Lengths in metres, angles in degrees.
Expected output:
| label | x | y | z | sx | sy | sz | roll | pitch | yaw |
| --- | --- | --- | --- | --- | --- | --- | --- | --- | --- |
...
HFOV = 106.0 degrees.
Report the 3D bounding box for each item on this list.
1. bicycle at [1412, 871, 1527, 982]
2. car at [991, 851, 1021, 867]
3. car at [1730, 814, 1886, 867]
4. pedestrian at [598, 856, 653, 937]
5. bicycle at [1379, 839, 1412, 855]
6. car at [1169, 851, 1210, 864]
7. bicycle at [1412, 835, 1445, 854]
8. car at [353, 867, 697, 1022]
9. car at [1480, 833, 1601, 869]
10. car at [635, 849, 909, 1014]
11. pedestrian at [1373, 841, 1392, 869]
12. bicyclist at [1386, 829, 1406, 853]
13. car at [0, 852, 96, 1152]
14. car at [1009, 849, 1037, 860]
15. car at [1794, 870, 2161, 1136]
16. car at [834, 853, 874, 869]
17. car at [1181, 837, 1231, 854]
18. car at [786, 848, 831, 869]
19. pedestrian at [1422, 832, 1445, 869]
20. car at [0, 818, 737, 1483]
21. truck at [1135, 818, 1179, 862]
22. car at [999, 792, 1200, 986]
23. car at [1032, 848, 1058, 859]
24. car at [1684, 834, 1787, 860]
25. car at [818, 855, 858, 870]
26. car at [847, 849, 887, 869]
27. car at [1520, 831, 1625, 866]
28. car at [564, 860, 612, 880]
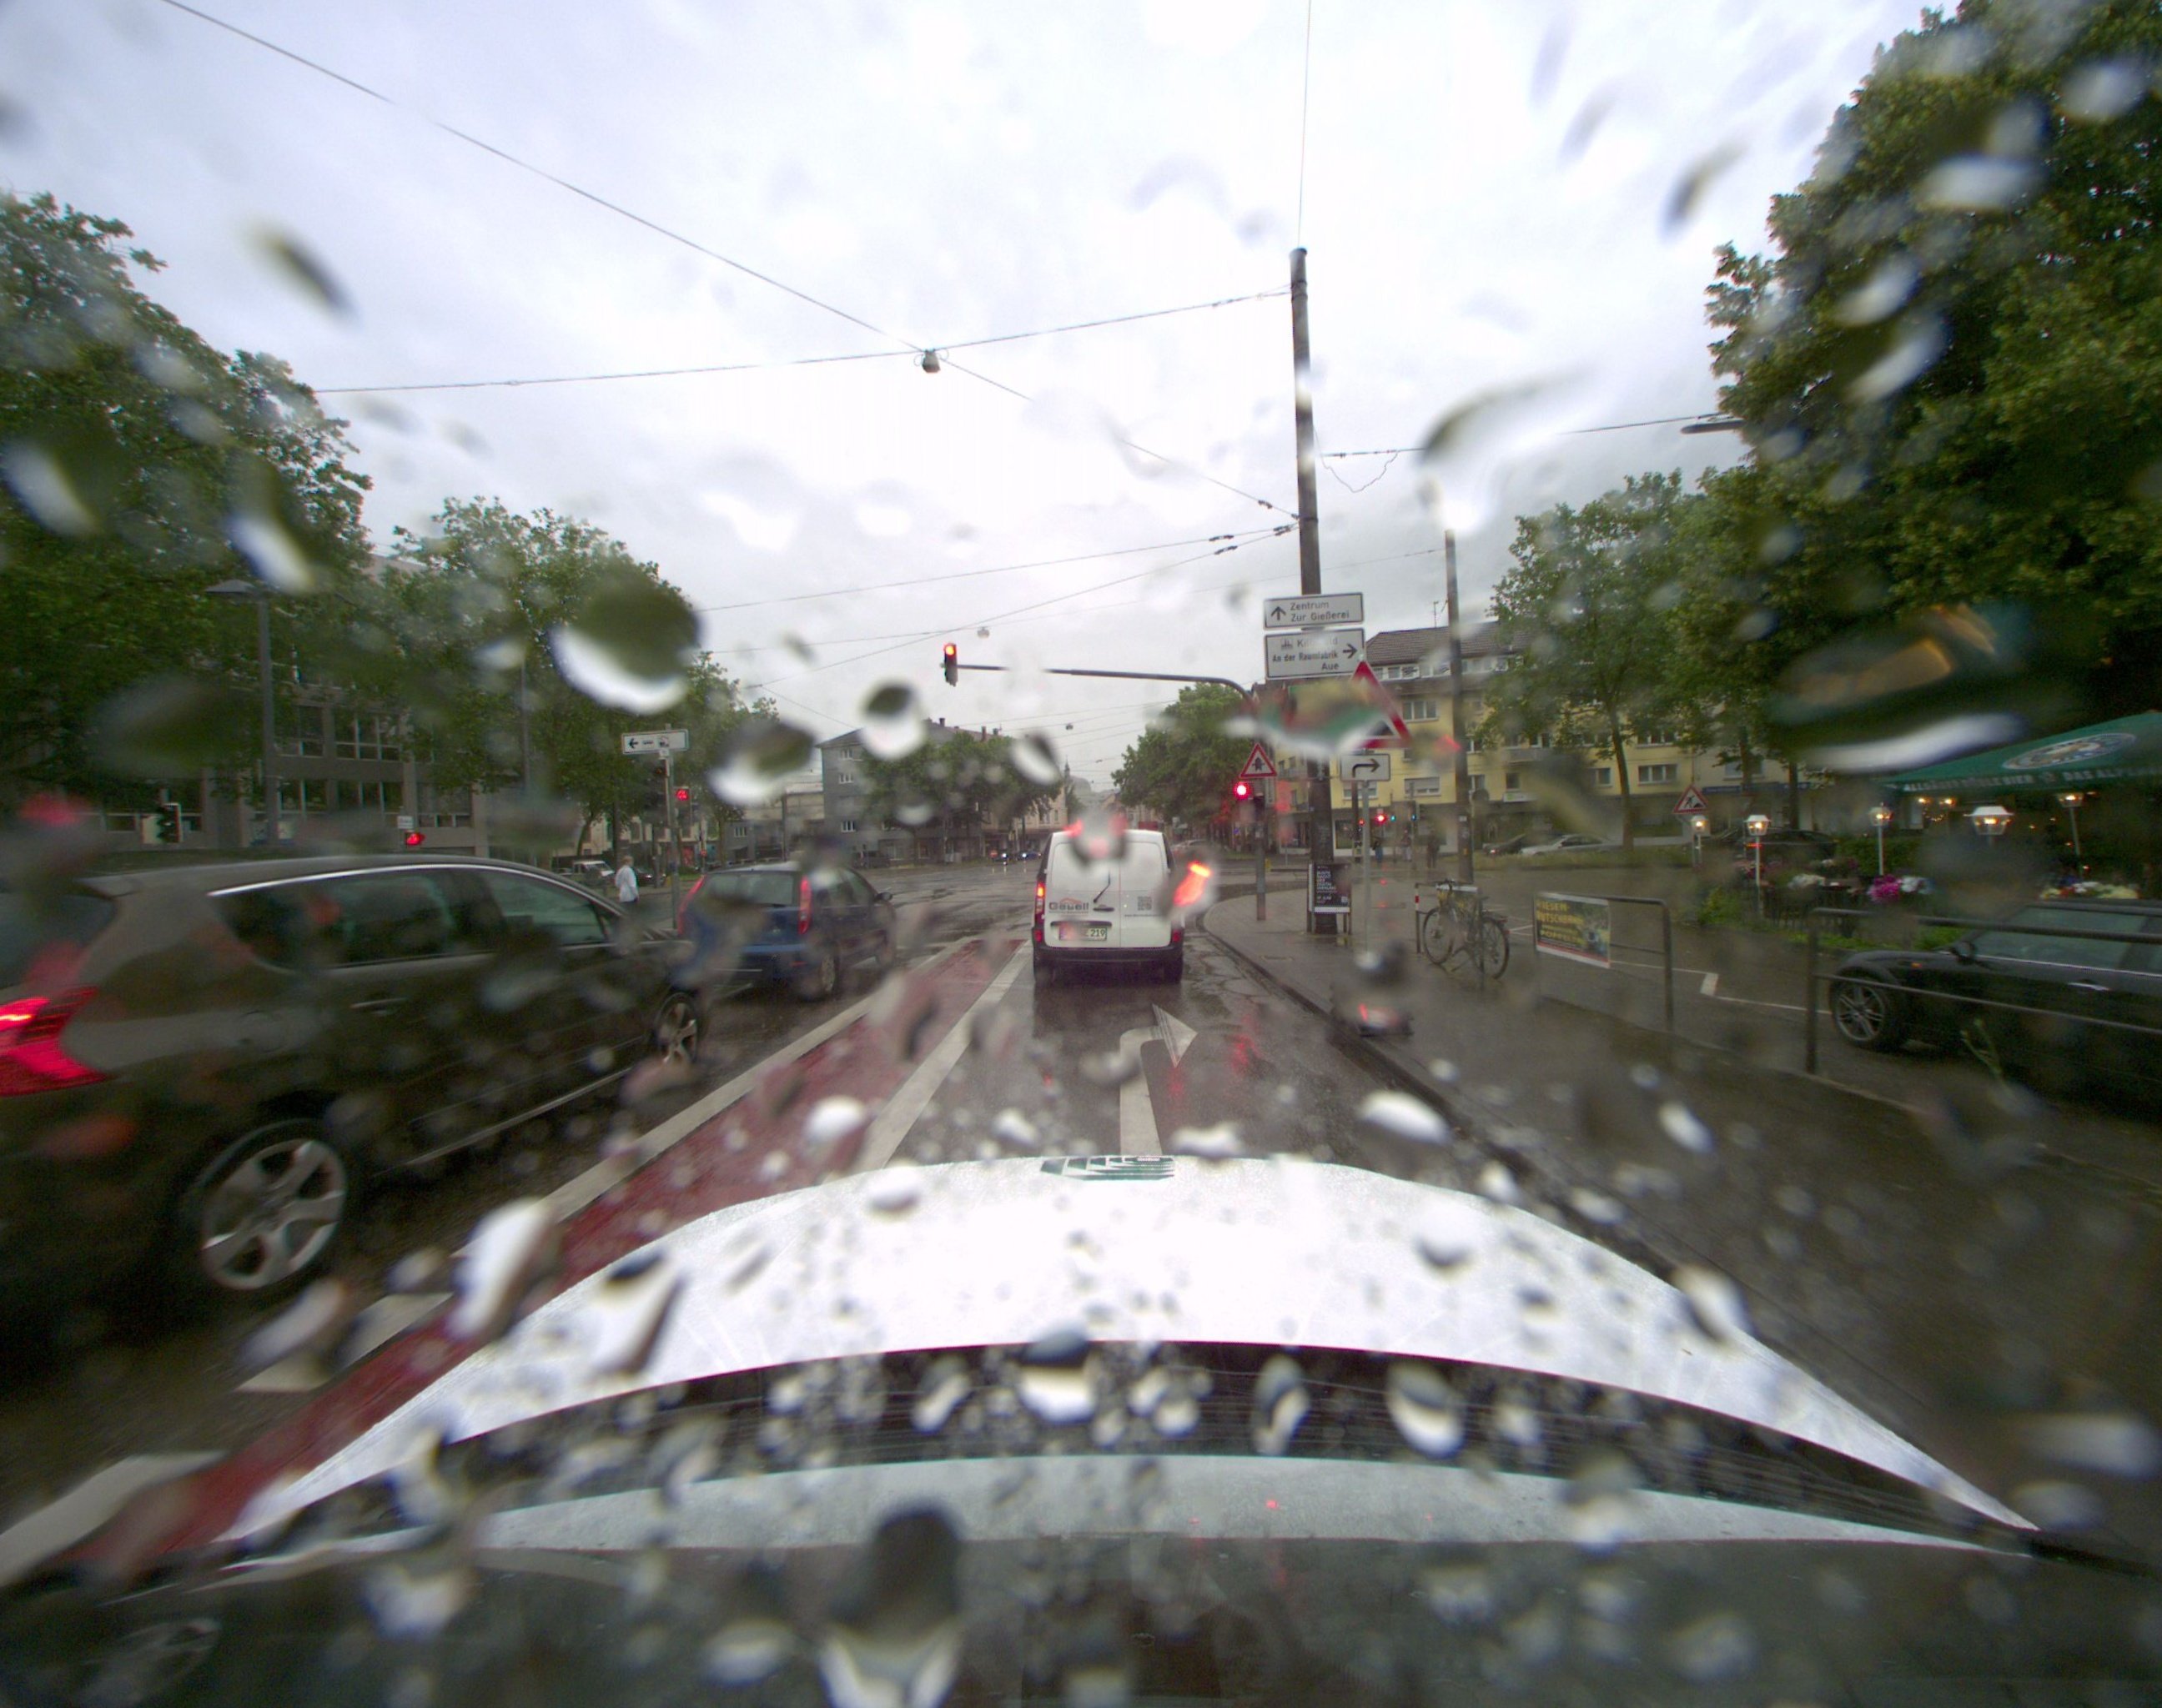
| label | x | y | z | sx | sy | sz | roll | pitch | yaw |
| --- | --- | --- | --- | --- | --- | --- | --- | --- | --- |
| bicycle | 4.587 | 0.802 | 9.771 | 0.512 | 1.107 | 2.019 | 1 | 1 | 4 |
| car | -8.470 | 0.587 | 92.458 | 1.935 | 1.607 | 4.020 | -1 | 2 | 19 |
| car | 27.446 | -0.493 | 30.892 | 3.961 | 1.866 | 2.006 | -1 | 0 | 11 |
| pedestrian | -9.368 | 0.857 | 16.767 | 0.621 | 1.607 | 0.744 | -1 | 0 | 9 |
| bicycle | 21.030 | -0.479 | 54.522 | 2.003 | 1.027 | 0.662 | -1 | 0 | 14 |
| car | 9.802 | 0.324 | 73.762 | 3.437 | 1.130 | 1.468 | -1 | 0 | -6 |
| bicycle | 24.545 | -0.649 | 57.529 | 2.085 | 1.261 | 0.534 | -1 | 1 | 16 |
| car | -6.608 | 0.963 | 10.264 | 1.623 | 1.494 | 3.783 | -1 | 0 | 2 |
| car | 23.016 | -0.131 | 40.986 | 4.902 | 1.643 | 2.007 | -1 | -2 | 14 |
| car | -3.415 | 0.749 | 9.841 | 1.720 | 1.578 | 3.822 | -1 | 0 | 2 |
| pedestrian | 16.808 | 0.048 | 45.433 | 0.820 | 1.534 | 0.616 | -1 | 0 | -37 |
| bicyclist | 21.065 | -0.880 | 54.466 | 1.058 | 1.547 | 0.940 | -1 | 0 | 13 |
| car | -6.749 | 0.835 | 2.922 | 1.639 | 1.629 | 3.838 | -2 | 0 | 2 |
| car | -6.992 | 0.055 | 98.647 | 1.935 | 1.239 | 4.020 | -1 | 2 | 19 |
| car | 7.268 | 0.938 | 5.625 | 1.698 | 1.442 | 3.529 | 2 | 2 | 4 |
| car | -25.095 | 0.773 | 90.156 | 1.975 | 1.530 | 4.025 | -1 | 2 | 29 |
| car | 10.976 | -0.792 | 71.615 | 4.160 | 1.338 | 1.518 | -2 | 1 | -6 |
| car | -30.495 | 0.482 | 91.249 | 1.975 | 2.198 | 4.816 | 0 | 2 | 25 |
| pedestrian | 16.365 | -0.164 | 37.775 | 0.896 | 1.669 | 1.026 | -1 | 0 | 27 |
| car | -3.568 | 0.749 | 4.017 | 1.827 | 1.668 | 4.174 | -1 | 0 | 2 |
| truck | 9.849 | -1.714 | 103.589 | 3.445 | 5.087 | 15.362 | -1 | 0 | 13 |
| car | 0.283 | 0.375 | 11.173 | 2.092 | 2.012 | 4.965 | -1 | 0 | 2 |
| car | -4.667 | -0.037 | 106.411 | 1.935 | 1.239 | 4.020 | -1 | 2 | 19 |
| car | 29.449 | -0.321 | 36.690 | 3.511 | 1.082 | 1.248 | -1 | 0 | 4 |
| car | -27.231 | 0.932 | 91.300 | 1.935 | 1.496 | 4.025 | 1 | 3 | 29 |
| car | -23.134 | 0.543 | 88.254 | 1.975 | 2.013 | 4.025 | -1 | 0 | 29 |
| car | 22.823 | -0.269 | 37.974 | 3.906 | 1.490 | 1.815 | -1 | 1 | 17 |
| car | -40.769 | 1.314 | 67.300 | 3.734 | 1.494 | 1.572 | -3 | 0 | 27 |
